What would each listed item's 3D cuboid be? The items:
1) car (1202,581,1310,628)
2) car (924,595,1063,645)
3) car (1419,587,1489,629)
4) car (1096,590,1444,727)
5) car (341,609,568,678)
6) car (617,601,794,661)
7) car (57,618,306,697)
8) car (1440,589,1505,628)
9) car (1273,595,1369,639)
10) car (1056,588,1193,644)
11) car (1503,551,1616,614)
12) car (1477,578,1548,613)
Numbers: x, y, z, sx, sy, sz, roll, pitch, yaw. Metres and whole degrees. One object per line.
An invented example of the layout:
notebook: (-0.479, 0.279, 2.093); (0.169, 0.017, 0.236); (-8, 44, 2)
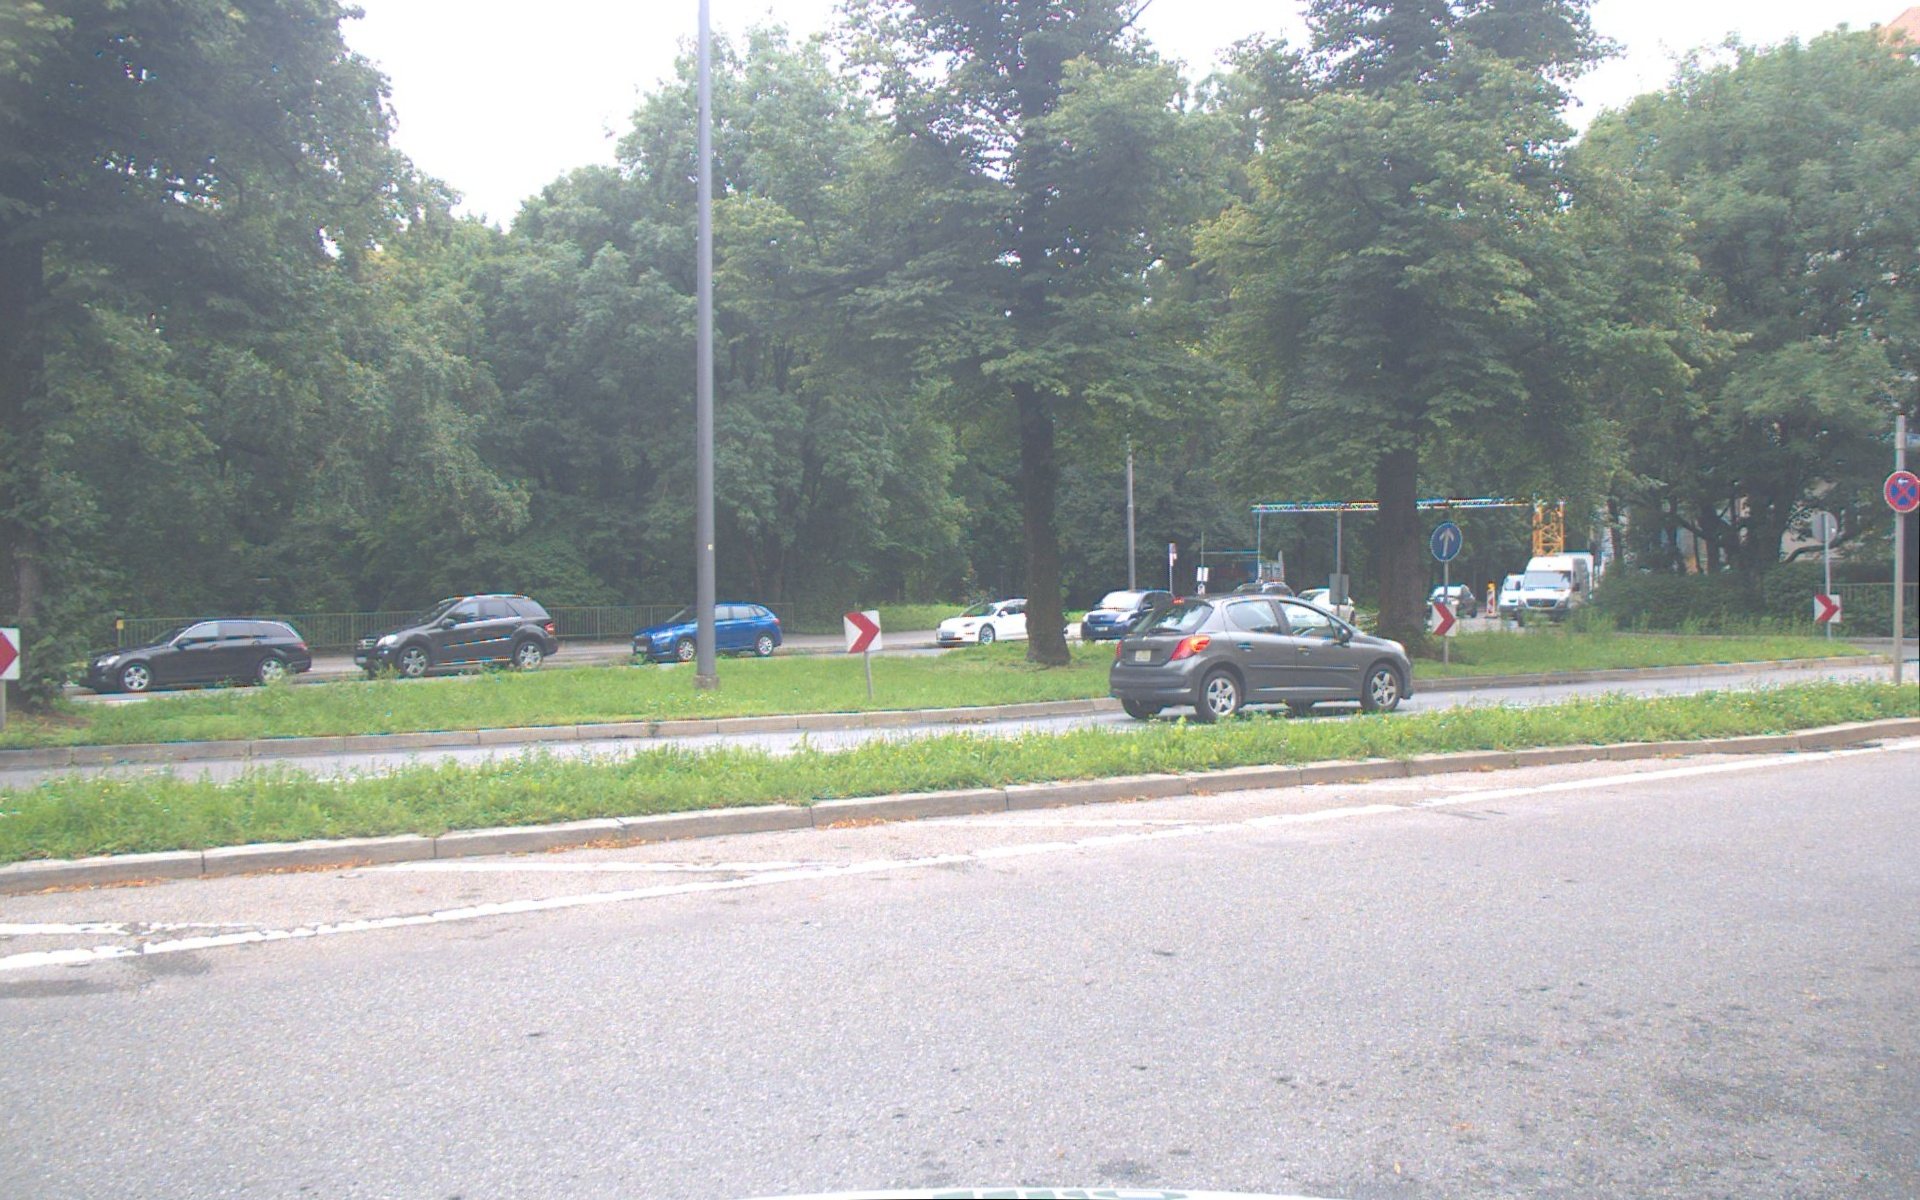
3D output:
car: (11.611, 0.164, 64.677); (1.965, 1.748, 4.619); (-2, -1, 43)
car: (1.089, 0.618, 52.084); (1.965, 1.472, 4.395); (-2, -1, 43)
car: (23.235, 0.344, 77.739); (1.719, 1.907, 3.978); (-1, 0, 41)
car: (3.791, 0.648, 20.057); (4.019, 1.486, 1.746); (-1, 0, -31)
car: (-11.741, 0.985, 38.651); (1.966, 1.472, 4.737); (-2, -1, 44)
car: (-6.733, 0.810, 44.046); (1.965, 1.472, 4.395); (-2, -1, 43)
car: (-16.137, 1.155, 34.435); (1.966, 1.472, 4.289); (-2, -1, 44)
car: (25.526, 0.417, 82.348); (1.665, 1.907, 3.978); (-1, 0, 40)
car: (12.831, 0.601, 58.636); (1.796, 1.472, 4.220); (-2, -1, 36)
car: (4.743, 0.438, 47.268); (1.864, 1.472, 4.008); (-1, 0, 43)
car: (22.749, -0.651, 62.655); (2.268, 2.309, 5.096); (-1, 0, 43)
car: (24.584, -0.225, 73.491); (1.859, 1.472, 4.285); (-1, 0, 35)
